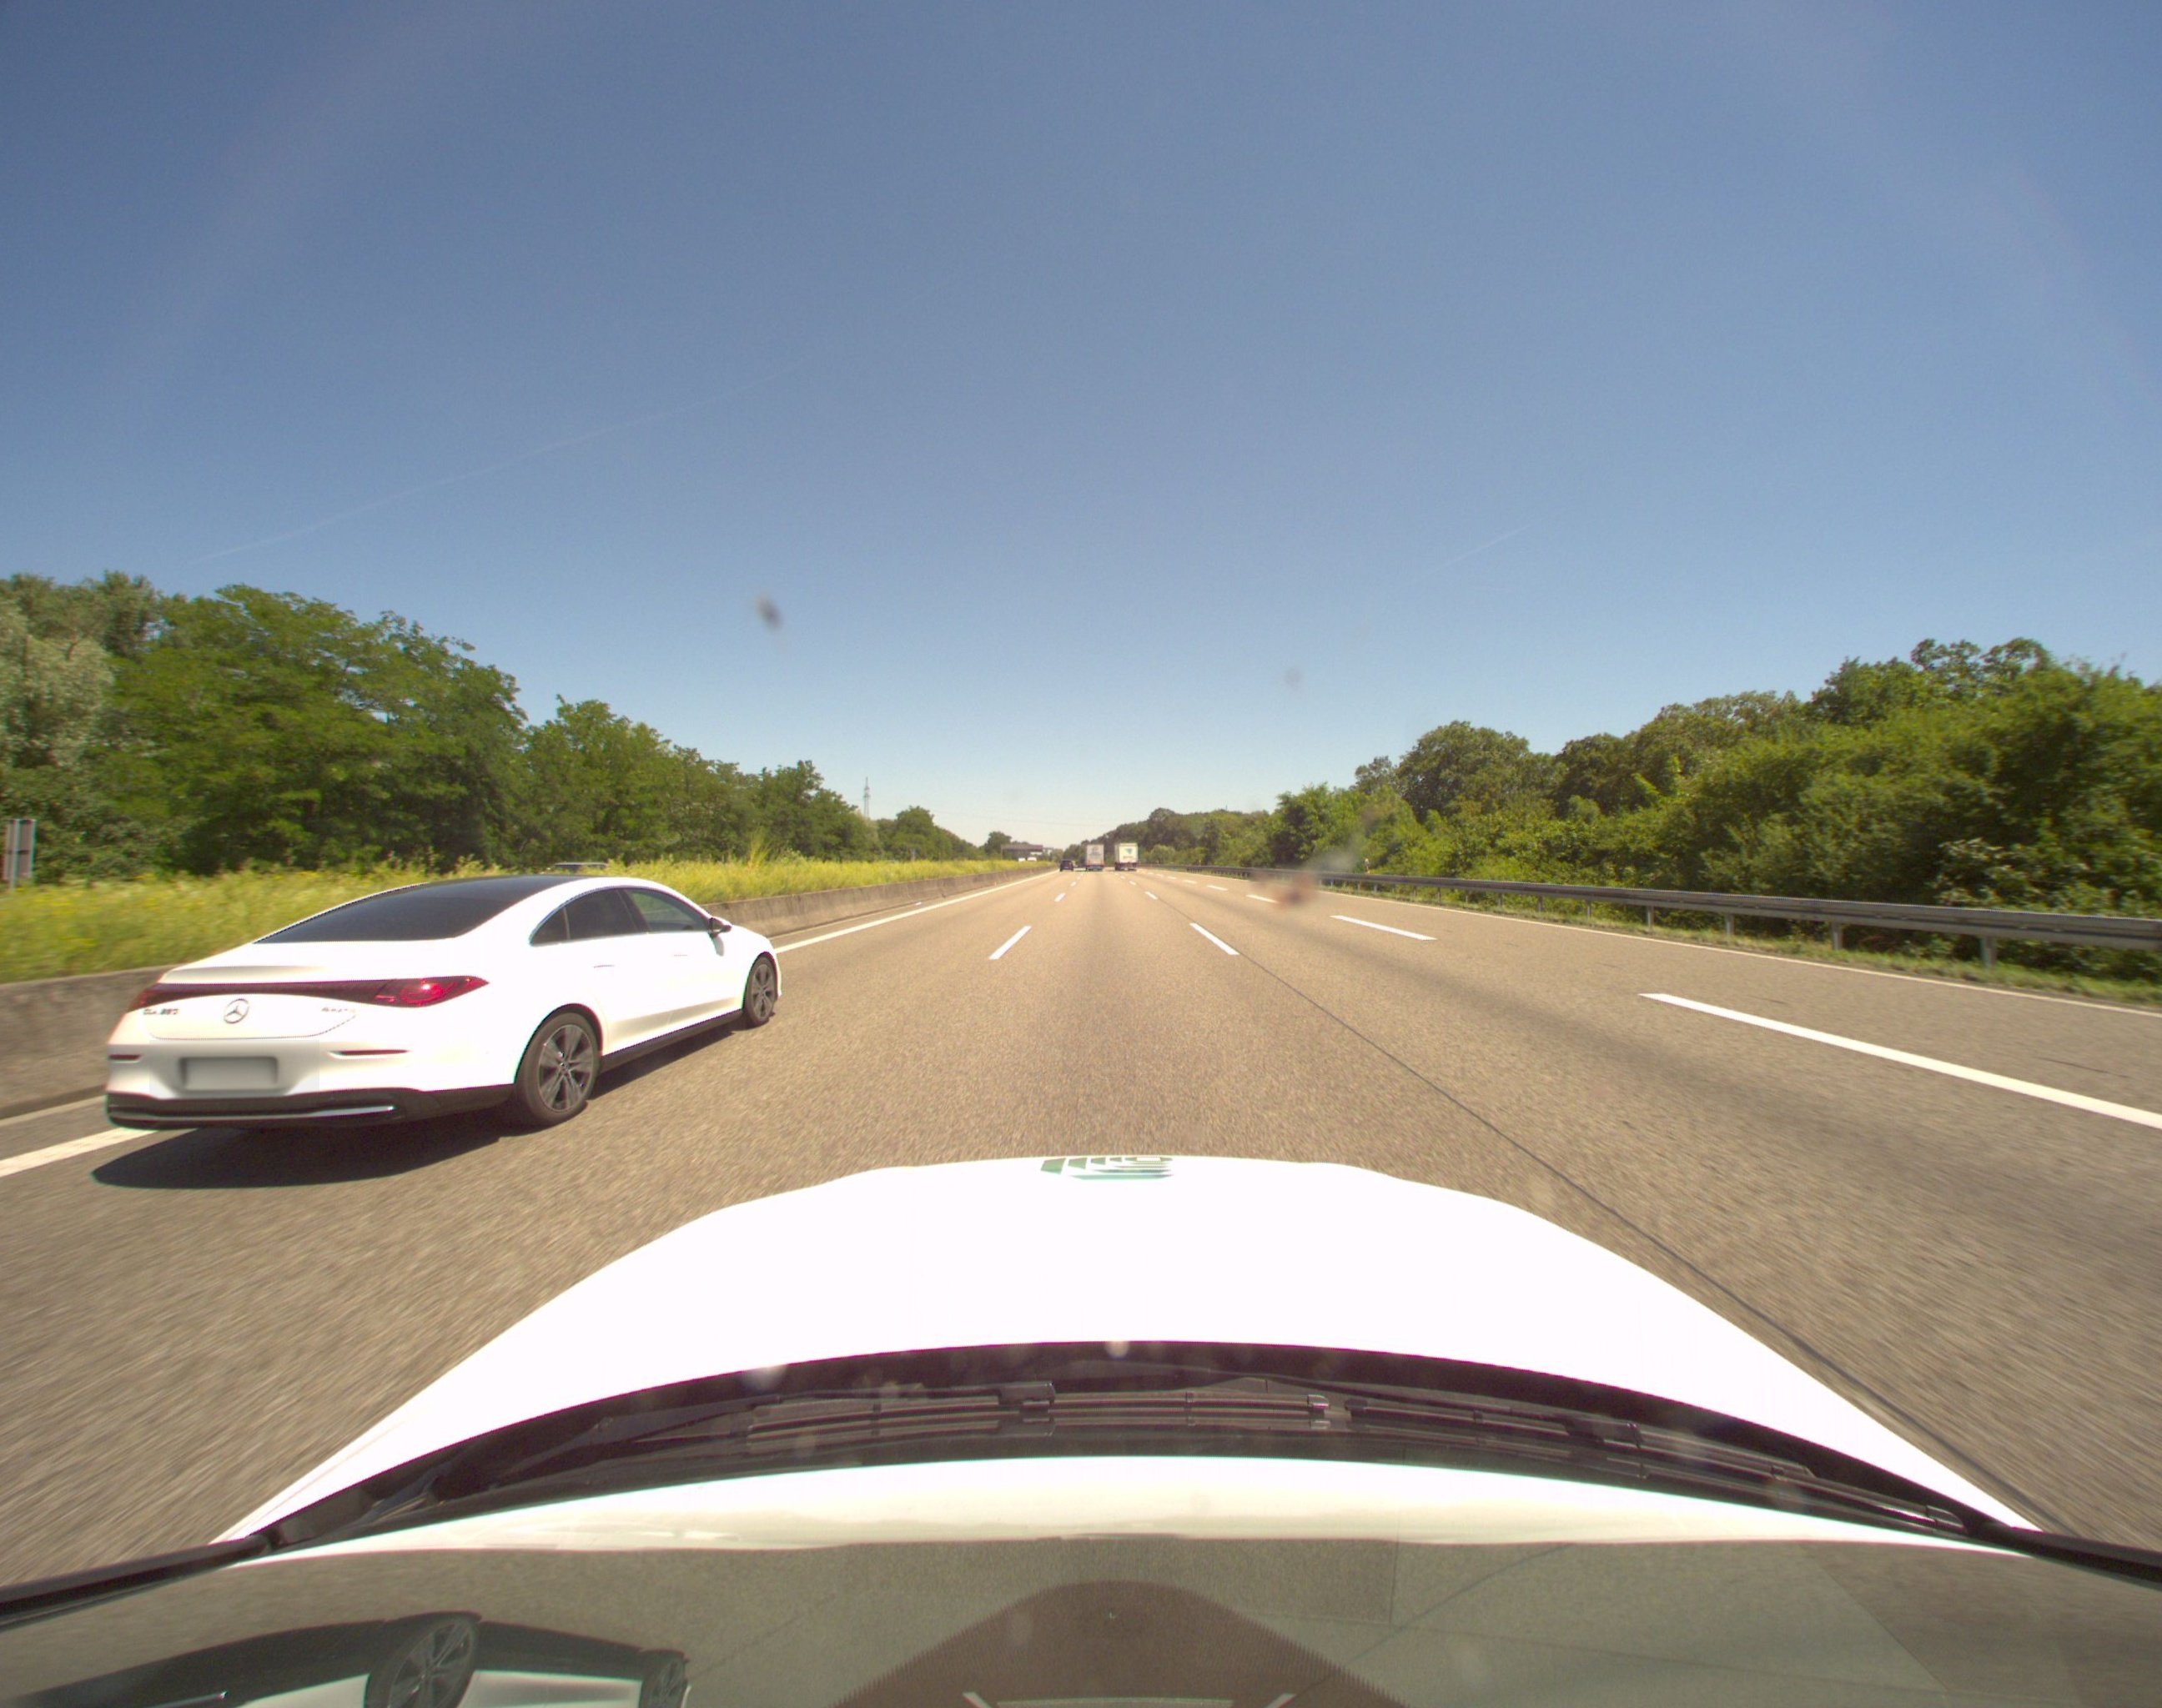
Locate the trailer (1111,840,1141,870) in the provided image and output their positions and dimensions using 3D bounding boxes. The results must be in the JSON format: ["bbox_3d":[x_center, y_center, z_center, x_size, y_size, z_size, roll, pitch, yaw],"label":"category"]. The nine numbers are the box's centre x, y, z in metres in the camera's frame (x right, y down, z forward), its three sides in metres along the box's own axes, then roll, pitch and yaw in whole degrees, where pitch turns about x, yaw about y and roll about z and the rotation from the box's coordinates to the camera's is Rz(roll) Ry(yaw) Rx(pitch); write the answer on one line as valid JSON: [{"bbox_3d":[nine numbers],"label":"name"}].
[{"bbox_3d":[6.375,0.066,116.442,3.359,4.142,9.083,0,0,-2],"label":"trailer"}]

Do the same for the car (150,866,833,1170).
[{"bbox_3d":[-3.818,0.881,6.743,1.760,1.448,5.110,-2,0,2],"label":"car"}]

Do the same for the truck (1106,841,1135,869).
[{"bbox_3d":[5.923,0.089,125.095,3.319,4.053,10.940,0,0,-3],"label":"truck"}]

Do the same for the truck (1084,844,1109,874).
[{"bbox_3d":[2.160,0.692,118.483,3.221,4.202,8.460,0,0,-2],"label":"truck"}]

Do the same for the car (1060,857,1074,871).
[{"bbox_3d":[-2.029,1.476,120.085,1.988,1.874,3.998,0,0,-1],"label":"car"}]
